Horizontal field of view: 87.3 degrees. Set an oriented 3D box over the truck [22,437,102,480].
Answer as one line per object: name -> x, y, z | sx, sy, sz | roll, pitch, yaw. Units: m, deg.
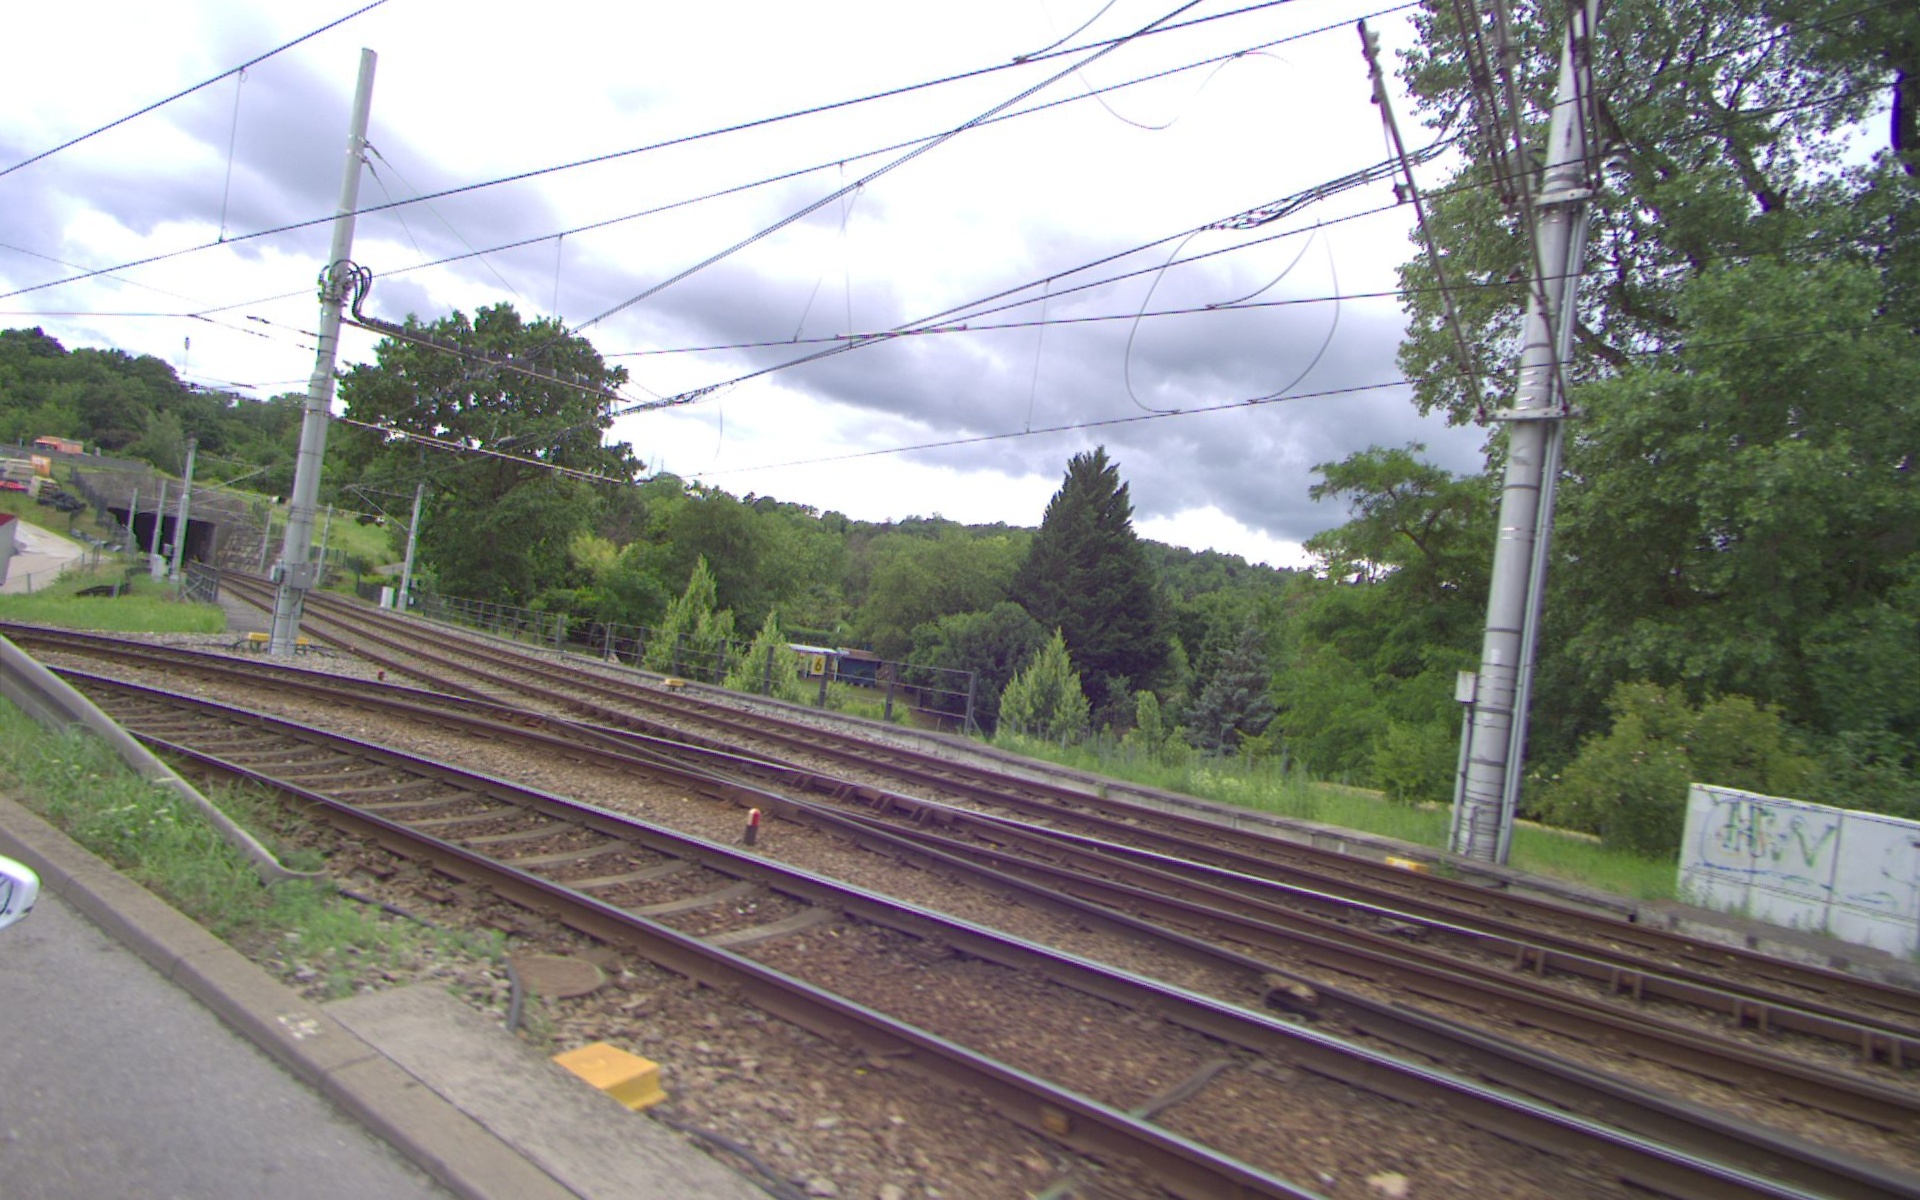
truck -> -127.115, -19.947, 142.582 | 3.068, 4.269, 9.783 | 9, -1, -7
